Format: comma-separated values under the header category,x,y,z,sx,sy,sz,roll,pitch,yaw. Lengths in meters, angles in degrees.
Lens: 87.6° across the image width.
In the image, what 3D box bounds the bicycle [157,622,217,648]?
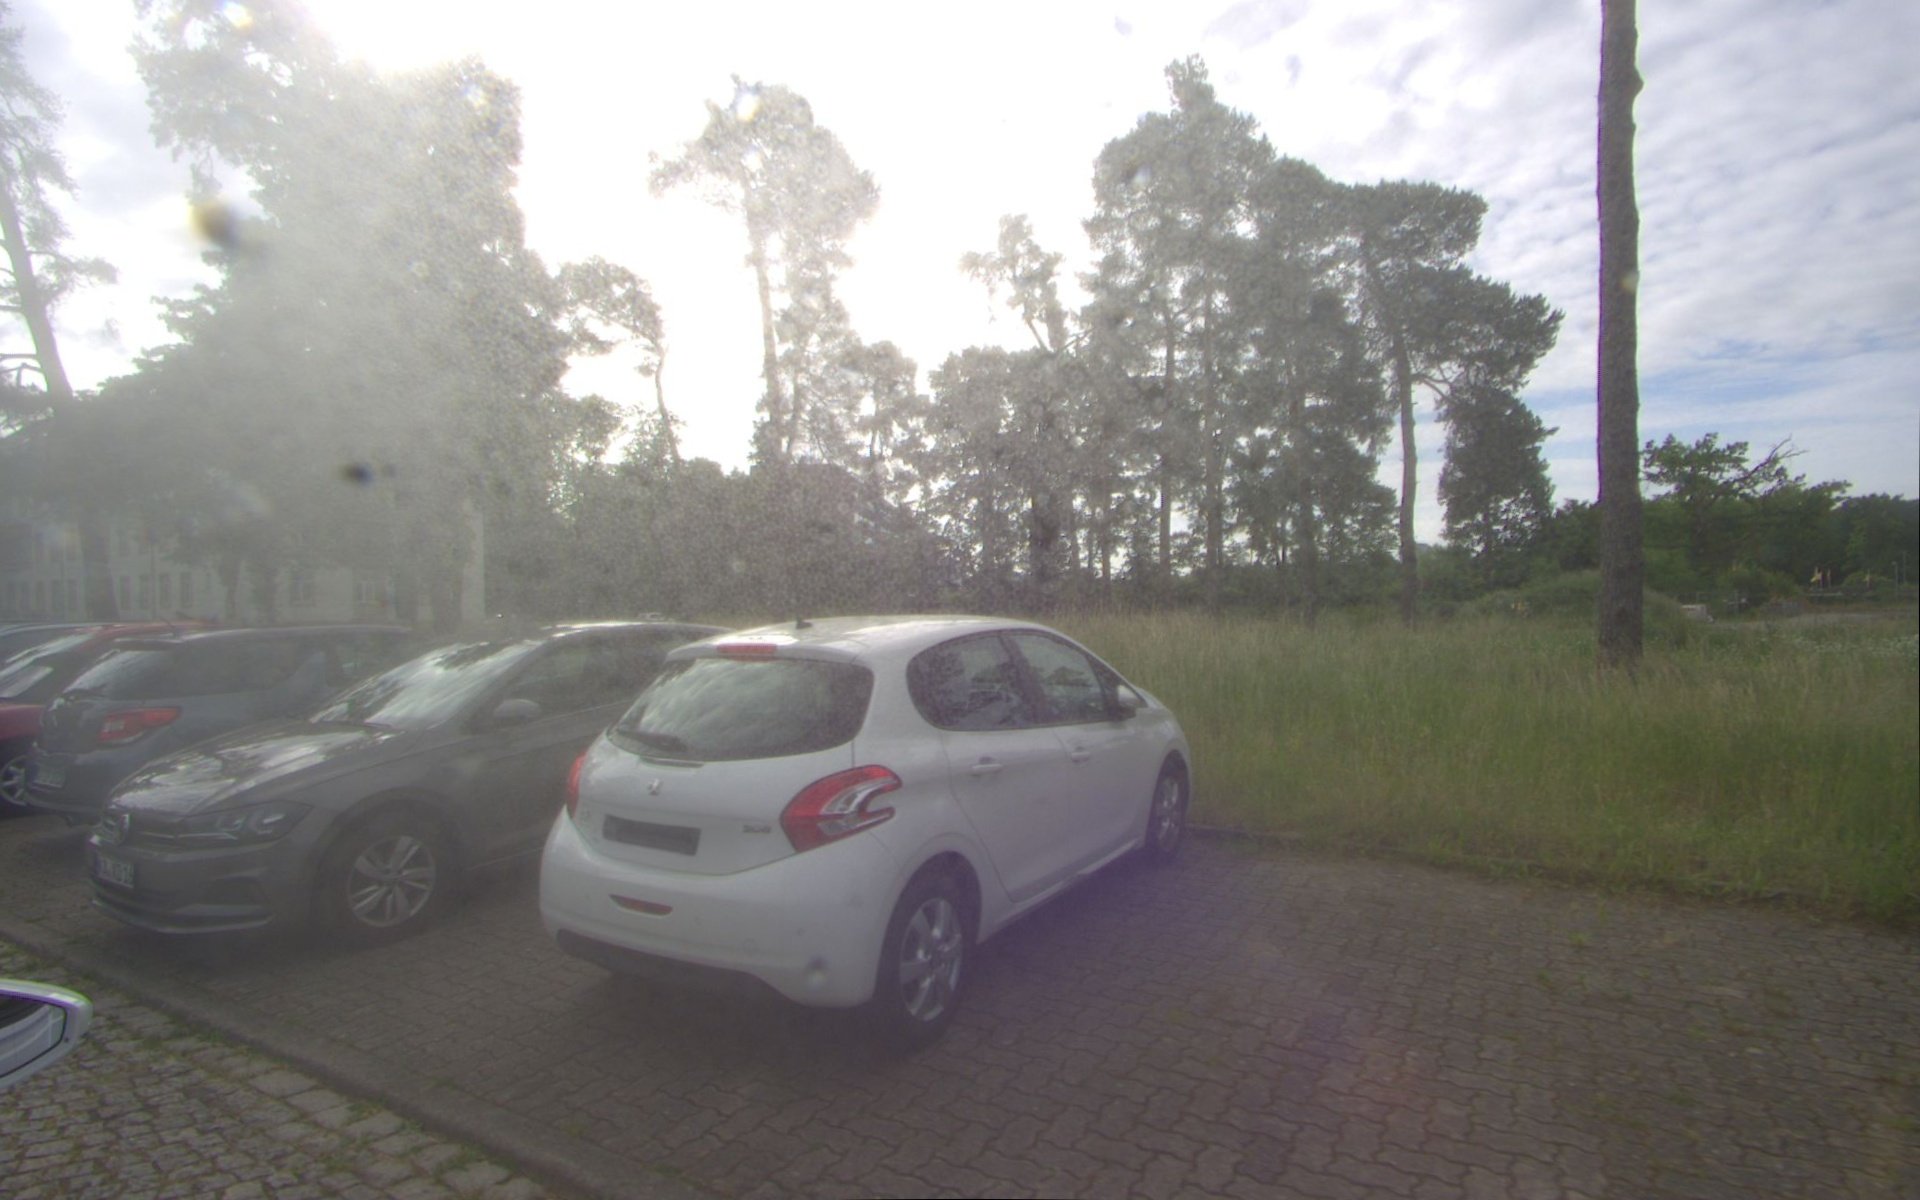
category,x,y,z,sx,sy,sz,roll,pitch,yaw
bicycle,-33.084,1.479,42.872,0.596,1.038,1.952,0,0,30

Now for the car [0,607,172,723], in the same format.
category,x,y,z,sx,sy,sz,roll,pitch,yaw
car,-13.497,0.898,13.072,1.842,1.436,4.674,0,1,28

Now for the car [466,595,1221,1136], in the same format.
category,x,y,z,sx,sy,sz,roll,pitch,yaw
car,-0.129,0.778,5.017,1.733,1.492,3.853,0,2,32

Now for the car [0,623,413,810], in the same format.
category,x,y,z,sx,sy,sz,roll,pitch,yaw
car,-7.347,0.923,9.073,1.731,1.253,3.856,0,1,29

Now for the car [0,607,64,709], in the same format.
category,x,y,z,sx,sy,sz,roll,pitch,yaw
car,-15.605,0.916,14.252,1.619,1.497,3.917,0,2,32

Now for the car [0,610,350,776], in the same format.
category,x,y,z,sx,sy,sz,roll,pitch,yaw
car,-9.234,0.902,10.691,1.843,1.436,4.254,0,2,30

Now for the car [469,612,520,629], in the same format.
category,x,y,z,sx,sy,sz,roll,pitch,yaw
car,-42.251,1.869,91.043,1.627,1.439,3.941,-1,-3,33

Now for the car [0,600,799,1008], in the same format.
category,x,y,z,sx,sy,sz,roll,pitch,yaw
car,-2.860,0.807,6.013,1.731,1.492,3.857,0,1,28

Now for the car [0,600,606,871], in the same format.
category,x,y,z,sx,sy,sz,roll,pitch,yaw
car,-4.981,0.808,7.989,1.731,1.492,3.856,0,2,29

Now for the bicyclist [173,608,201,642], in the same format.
category,x,y,z,sx,sy,sz,roll,pitch,yaw
bicyclist,-33.091,1.055,42.868,0.596,1.429,0.748,0,0,30

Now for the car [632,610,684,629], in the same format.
category,x,y,z,sx,sy,sz,roll,pitch,yaw
car,-24.566,1.616,81.501,1.627,1.439,3.941,-1,-3,33

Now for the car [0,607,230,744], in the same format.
category,x,y,z,sx,sy,sz,roll,pitch,yaw
car,-11.338,0.875,11.522,1.839,1.436,4.423,-1,1,22
